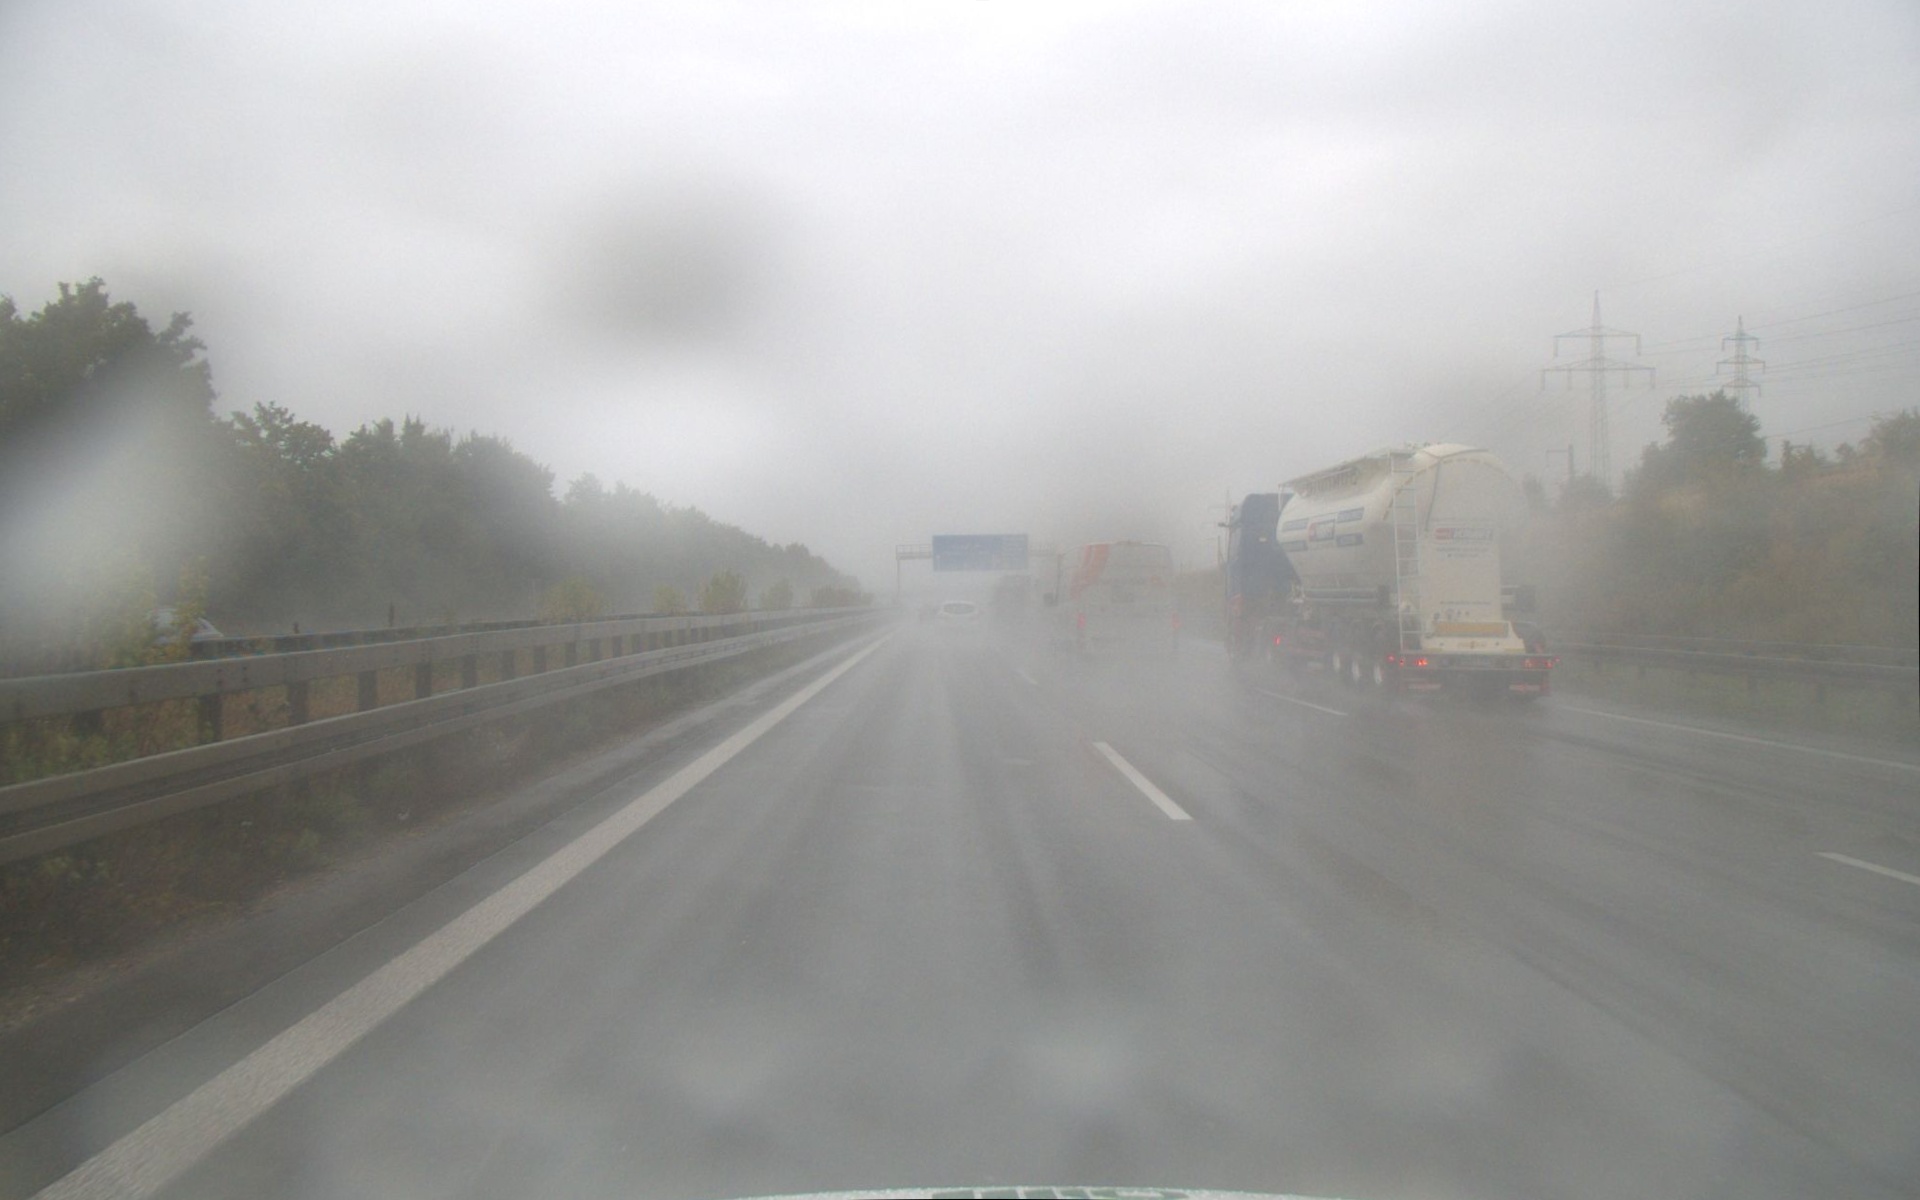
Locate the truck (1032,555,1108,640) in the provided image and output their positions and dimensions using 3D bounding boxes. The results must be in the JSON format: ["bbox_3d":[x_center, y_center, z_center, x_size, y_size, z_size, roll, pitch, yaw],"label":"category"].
[{"bbox_3d":[6.420,-0.046,99.625,2.978,4.668,16.344,1,-1,-2],"label":"truck"}]

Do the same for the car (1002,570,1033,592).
[{"bbox_3d":[5.523,-1.828,159.617,2.731,2.049,4.992,1,0,-1],"label":"car"}]

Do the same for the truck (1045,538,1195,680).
[{"bbox_3d":[3.041,0.145,32.721,2.370,2.536,5.559,1,0,0],"label":"truck"}]

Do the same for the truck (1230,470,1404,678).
[{"bbox_3d":[7.440,-0.533,35.101,2.446,4.053,5.074,1,0,-2],"label":"truck"}]

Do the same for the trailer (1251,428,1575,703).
[{"bbox_3d":[7.559,-0.534,29.545,2.446,3.950,11.063,1,0,-1],"label":"trailer"}]

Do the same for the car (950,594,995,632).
[{"bbox_3d":[0.452,0.464,62.065,1.573,1.361,3.847,1,0,-1],"label":"car"}]
